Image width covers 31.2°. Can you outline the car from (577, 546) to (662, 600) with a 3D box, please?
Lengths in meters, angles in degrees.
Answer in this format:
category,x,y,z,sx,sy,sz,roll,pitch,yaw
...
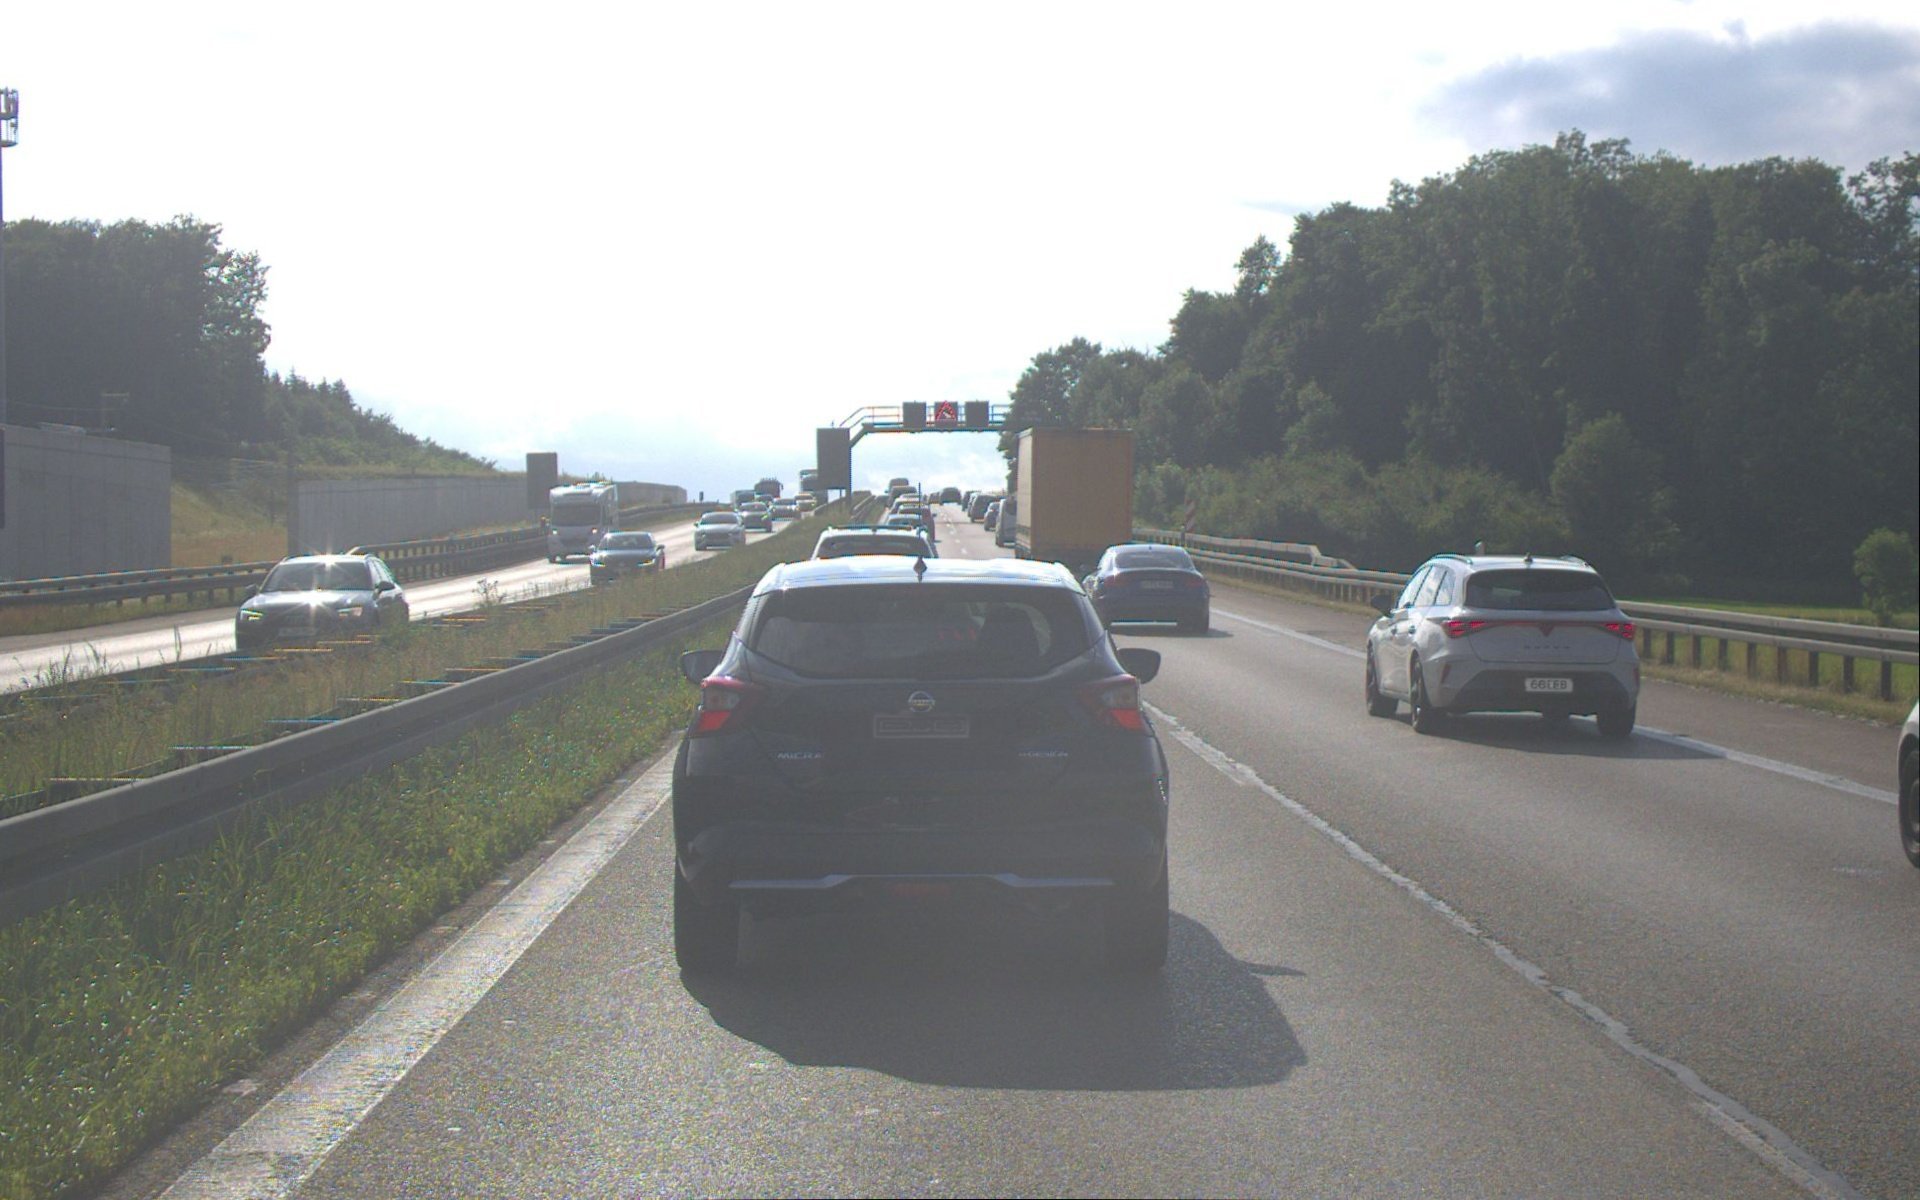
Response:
category,x,y,z,sx,sy,sz,roll,pitch,yaw
car,-9.368,-0.744,94.773,1.993,1.428,4.449,1,0,-1

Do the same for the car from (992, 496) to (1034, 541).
category,x,y,z,sx,sy,sz,roll,pitch,yaw
car,2.183,-3.312,140.229,1.667,1.749,3.327,1,0,1

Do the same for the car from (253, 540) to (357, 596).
category,x,y,z,sx,sy,sz,roll,pitch,yaw
car,-17.264,-0.841,90.790,1.993,1.428,4.449,1,0,-1

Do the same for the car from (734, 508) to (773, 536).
category,x,y,z,sx,sy,sz,roll,pitch,yaw
car,-10.764,-4.071,179.737,1.853,1.428,4.449,0,0,-1

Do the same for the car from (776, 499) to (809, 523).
category,x,y,z,sx,sy,sz,roll,pitch,yaw
car,-10.689,-5.649,219.686,1.993,1.428,4.449,1,0,-1

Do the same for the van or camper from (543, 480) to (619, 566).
category,x,y,z,sx,sy,sz,roll,pitch,yaw
van or camper,-14.063,-2.814,127.851,2.225,3.068,6.513,1,0,-1

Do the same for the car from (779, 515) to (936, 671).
category,x,y,z,sx,sy,sz,roll,pitch,yaw
car,-1.147,-0.088,39.940,1.674,1.720,3.596,1,0,0

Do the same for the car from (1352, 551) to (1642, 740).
category,x,y,z,sx,sy,sz,roll,pitch,yaw
car,4.383,0.342,28.604,1.620,1.441,4.147,1,0,-2

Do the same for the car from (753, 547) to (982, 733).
category,x,y,z,sx,sy,sz,roll,pitch,yaw
car,-0.674,0.285,27.259,1.674,1.362,3.596,1,0,0

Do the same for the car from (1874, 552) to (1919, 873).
category,x,y,z,sx,sy,sz,roll,pitch,yaw
car,5.284,0.557,15.041,1.548,1.490,3.378,1,1,-2

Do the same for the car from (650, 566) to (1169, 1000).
category,x,y,z,sx,sy,sz,roll,pitch,yaw
car,-0.139,0.597,13.096,1.710,1.421,3.378,1,0,1

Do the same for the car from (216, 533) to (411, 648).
category,x,y,z,sx,sy,sz,roll,pitch,yaw
car,-8.686,-0.136,46.501,1.902,1.459,4.184,1,0,-1

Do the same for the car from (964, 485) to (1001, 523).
category,x,y,z,sx,sy,sz,roll,pitch,yaw
car,1.265,-5.429,194.728,1.993,2.007,4.000,1,0,-1

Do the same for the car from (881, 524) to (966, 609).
category,x,y,z,sx,sy,sz,roll,pitch,yaw
car,-0.917,-0.811,83.592,1.993,2.007,4.000,1,0,-1

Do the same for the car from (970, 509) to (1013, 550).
category,x,y,z,sx,sy,sz,roll,pitch,yaw
car,1.580,-3.543,173.214,1.993,2.007,4.000,1,0,-1

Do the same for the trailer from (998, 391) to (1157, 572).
category,x,y,z,sx,sy,sz,roll,pitch,yaw
trailer,2.995,-2.988,91.848,3.548,4.442,12.723,1,0,-1

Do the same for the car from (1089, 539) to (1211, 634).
category,x,y,z,sx,sy,sz,roll,pitch,yaw
car,3.029,-0.223,55.513,1.747,1.470,4.147,1,0,0

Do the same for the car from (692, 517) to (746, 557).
category,x,y,z,sx,sy,sz,roll,pitch,yaw
car,-9.787,-2.549,139.878,1.993,1.587,4.449,1,0,-1
